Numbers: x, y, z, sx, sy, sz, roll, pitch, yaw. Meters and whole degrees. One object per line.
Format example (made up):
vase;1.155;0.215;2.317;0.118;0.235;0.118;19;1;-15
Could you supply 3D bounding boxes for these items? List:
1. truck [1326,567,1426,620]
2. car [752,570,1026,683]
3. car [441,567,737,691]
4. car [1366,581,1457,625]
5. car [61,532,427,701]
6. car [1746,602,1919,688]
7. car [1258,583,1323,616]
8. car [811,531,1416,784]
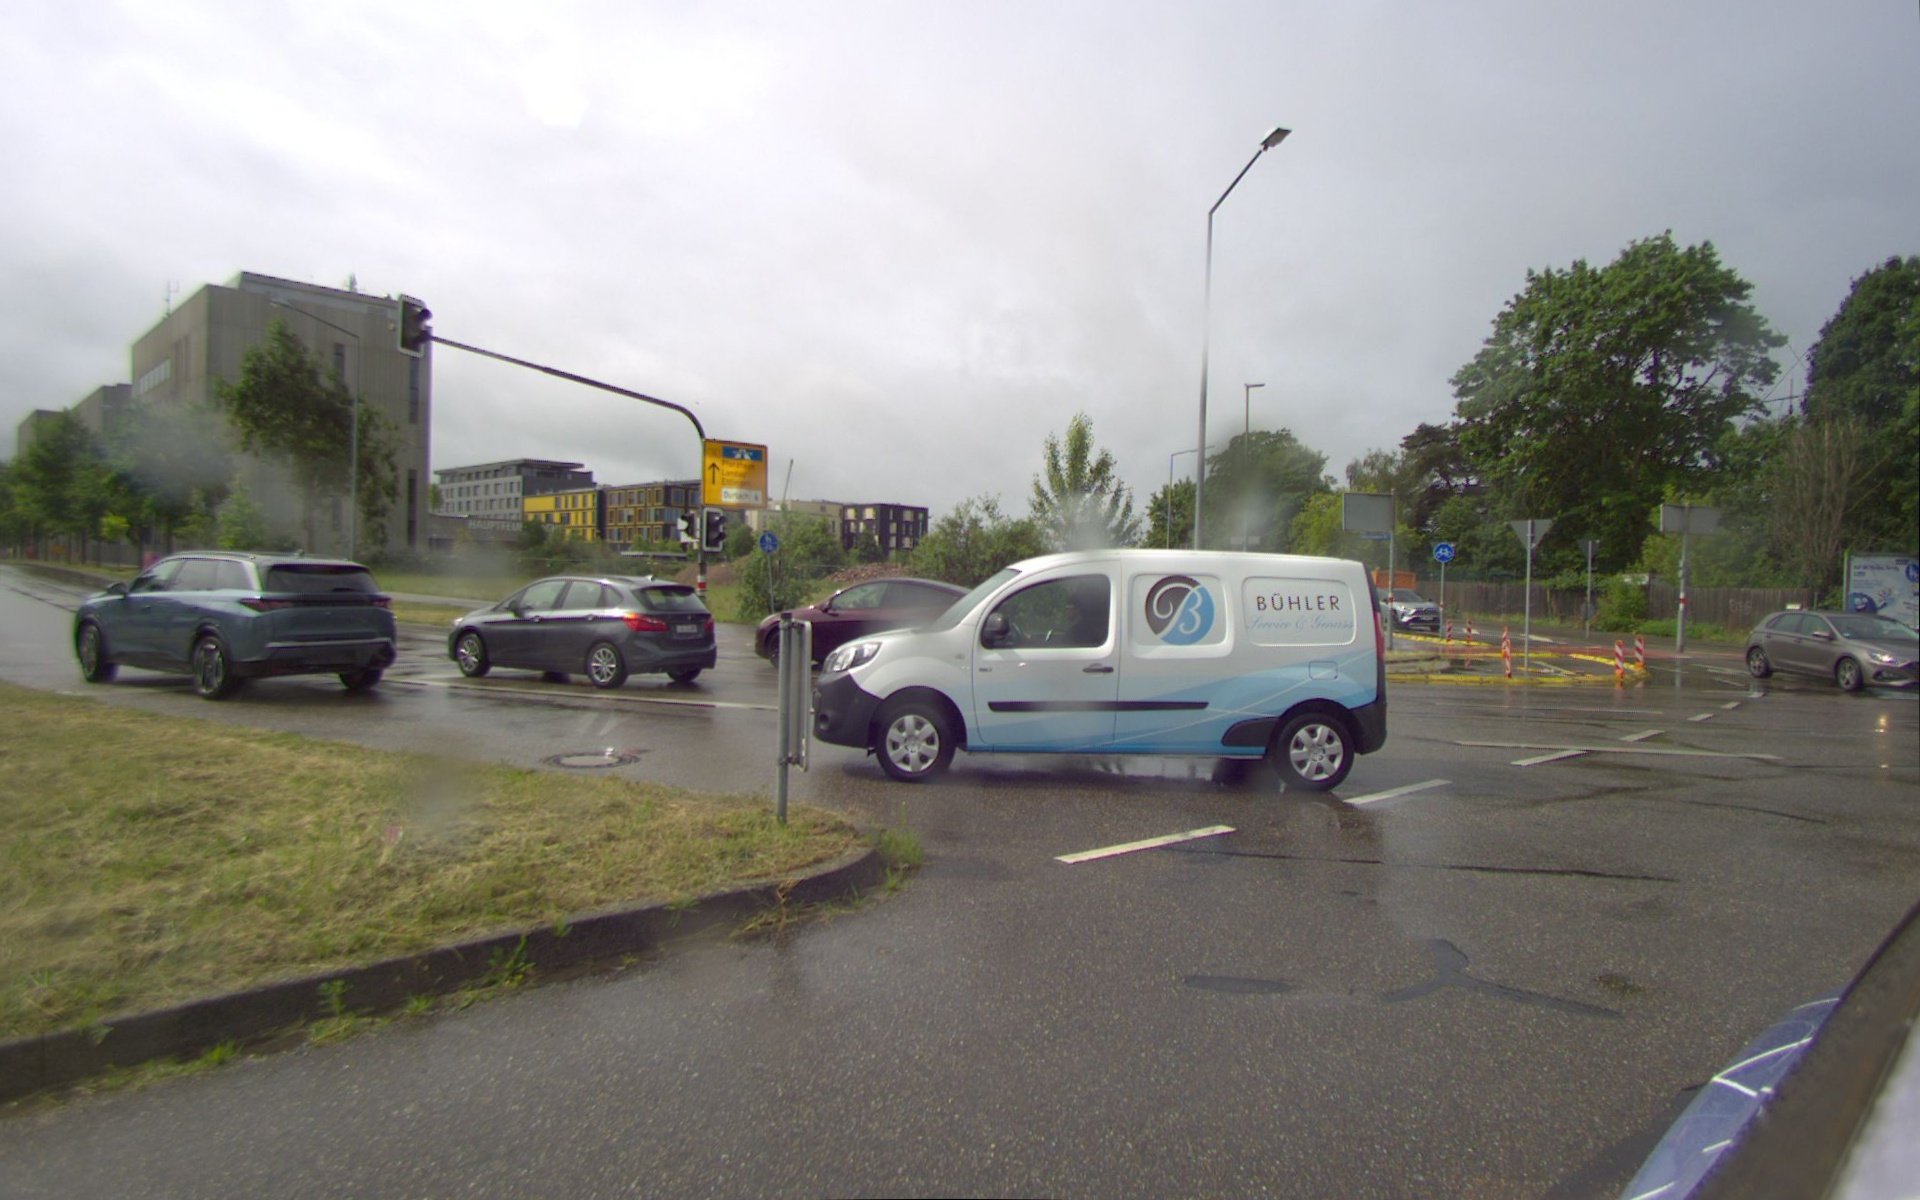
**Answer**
truck;23.301;-0.420;57.113;2.414;2.760;6.950;1;1;-2
car;-1.190;0.406;17.776;4.432;1.678;1.868;2;1;13
car;-5.461;0.351;14.886;3.956;1.547;1.796;2;1;24
car;18.490;0.087;41.659;1.841;1.684;4.482;1;1;2
car;-9.026;0.108;12.724;4.282;1.779;2.023;2;1;28
car;17.268;0.801;19.361;1.707;1.431;4.117;1;1;9
car;17.776;-0.069;54.661;1.839;1.684;4.486;-1;1;-3
car;1.114;0.419;8.417;4.463;1.785;1.868;1;1;-2
